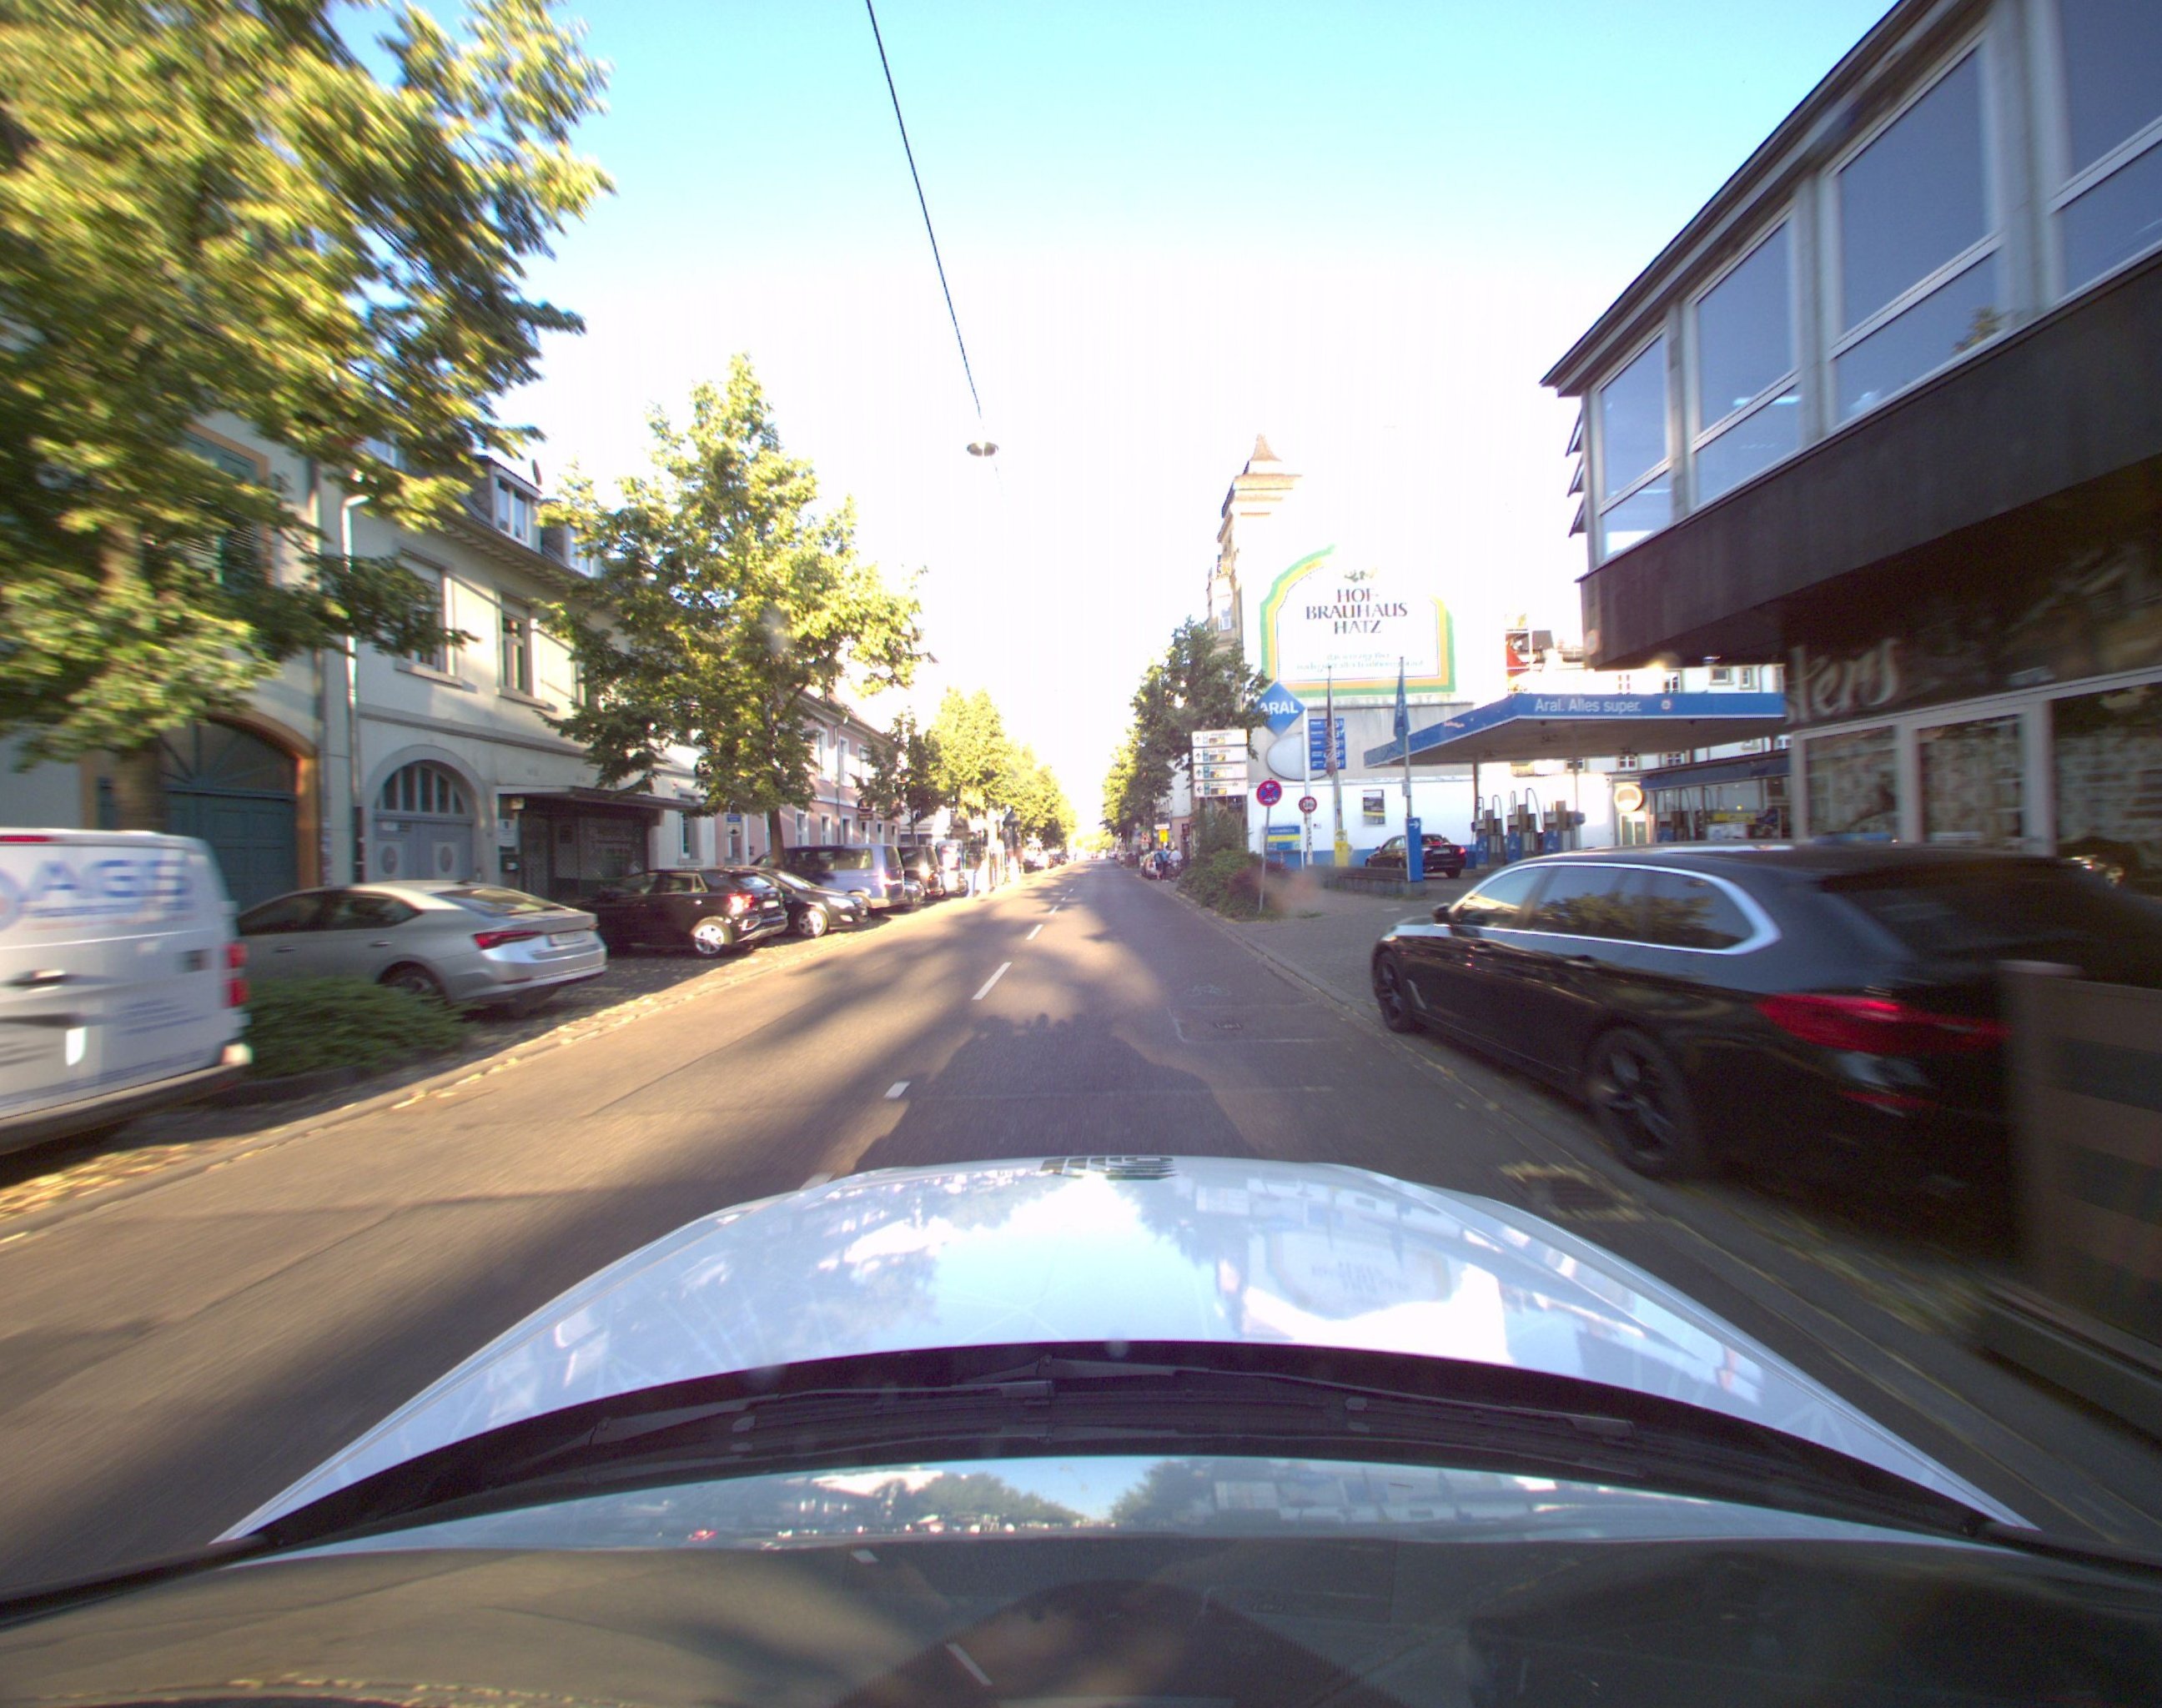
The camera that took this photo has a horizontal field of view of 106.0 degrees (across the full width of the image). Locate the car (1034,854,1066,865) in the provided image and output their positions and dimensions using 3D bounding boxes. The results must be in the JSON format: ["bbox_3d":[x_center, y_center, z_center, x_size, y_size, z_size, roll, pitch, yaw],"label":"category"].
[{"bbox_3d":[-4.383,0.722,115.351,4.425,1.448,1.920,-1,0,2],"label":"car"}]

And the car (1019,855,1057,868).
[{"bbox_3d":[-5.188,0.899,99.133,4.425,1.458,1.860,-1,0,2],"label":"car"}]

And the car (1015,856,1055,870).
[{"bbox_3d":[-5.186,0.971,92.253,4.425,1.506,1.845,-1,0,2],"label":"car"}]

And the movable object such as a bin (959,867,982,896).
[{"bbox_3d":[-4.336,1.080,32.074,0.687,1.105,0.884,-3,0,3],"label":"movable object such as a bin"}]

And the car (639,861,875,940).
[{"bbox_3d":[-6.800,0.947,17.495,4.317,1.501,1.839,-1,0,-4],"label":"car"}]

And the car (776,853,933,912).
[{"bbox_3d":[-6.675,0.823,24.319,4.114,1.636,1.861,-1,0,2],"label":"car"}]

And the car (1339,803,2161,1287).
[{"bbox_3d":[3.347,0.602,5.089,1.823,1.488,4.848,-4,0,0],"label":"car"}]

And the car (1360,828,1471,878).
[{"bbox_3d":[10.930,0.009,27.038,1.728,1.431,4.909,-3,-1,1],"label":"car"}]

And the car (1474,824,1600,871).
[{"bbox_3d":[15.511,-0.156,28.055,1.704,1.402,4.760,-3,-1,1],"label":"car"}]

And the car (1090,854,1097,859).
[{"bbox_3d":[3.706,0.732,236.823,1.745,1.540,3.306,-2,-1,3],"label":"car"}]

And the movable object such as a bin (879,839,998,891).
[{"bbox_3d":[-7.308,0.497,42.261,2.285,2.495,5.789,-2,0,44],"label":"movable object such as a bin"}]

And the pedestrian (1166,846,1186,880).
[{"bbox_3d":[5.000,0.474,42.964,0.657,1.700,0.660,-4,0,-43],"label":"pedestrian"}]

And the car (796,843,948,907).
[{"bbox_3d":[-6.776,0.658,26.821,4.470,1.976,1.965,-1,0,-1],"label":"car"}]

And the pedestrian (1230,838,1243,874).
[{"bbox_3d":[8.372,0.101,43.908,0.460,1.875,0.499,-2,0,-14],"label":"pedestrian"}]

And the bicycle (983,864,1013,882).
[{"bbox_3d":[-4.963,1.136,48.605,1.673,1.079,0.445,1,-1,9],"label":"bicycle"}]

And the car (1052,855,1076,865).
[{"bbox_3d":[-3.330,1.191,160.006,4.425,1.959,1.920,-1,0,2],"label":"car"}]

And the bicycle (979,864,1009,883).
[{"bbox_3d":[-5.137,1.127,48.016,1.677,1.079,0.444,1,-1,0],"label":"bicycle"}]

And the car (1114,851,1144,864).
[{"bbox_3d":[6.101,0.387,102.842,1.654,1.588,3.846,-1,0,44],"label":"car"}]

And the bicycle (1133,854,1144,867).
[{"bbox_3d":[5.637,0.632,79.585,0.593,1.178,1.856,-2,0,21],"label":"bicycle"}]

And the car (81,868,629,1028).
[{"bbox_3d":[-7.621,0.948,8.835,4.459,1.485,1.735,-1,0,3],"label":"car"}]

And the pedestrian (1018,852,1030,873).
[{"bbox_3d":[-4.690,0.674,66.875,0.706,1.686,0.836,-1,0,10],"label":"pedestrian"}]

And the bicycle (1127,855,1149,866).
[{"bbox_3d":[5.452,0.616,78.126,1.935,1.074,0.710,-1,0,33],"label":"bicycle"}]

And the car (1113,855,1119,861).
[{"bbox_3d":[7.843,0.847,182.400,1.507,1.276,3.306,-1,-1,3],"label":"car"}]

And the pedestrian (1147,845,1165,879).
[{"bbox_3d":[3.980,0.430,43.317,0.677,1.754,0.823,-2,-1,-9],"label":"pedestrian"}]

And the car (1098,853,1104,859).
[{"bbox_3d":[5.501,0.494,223.541,1.745,1.540,3.306,-2,-1,3],"label":"car"}]

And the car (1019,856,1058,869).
[{"bbox_3d":[-5.032,1.001,96.823,4.425,1.484,1.810,-1,0,2],"label":"car"}]

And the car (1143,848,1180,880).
[{"bbox_3d":[4.541,0.541,46.377,1.680,1.575,4.014,-4,0,2],"label":"car"}]

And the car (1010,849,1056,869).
[{"bbox_3d":[-4.968,0.509,84.431,4.555,1.962,1.991,-1,0,1],"label":"car"}]

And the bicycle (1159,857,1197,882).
[{"bbox_3d":[4.817,0.748,40.342,0.856,1.098,1.939,-4,0,40],"label":"bicycle"}]

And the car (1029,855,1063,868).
[{"bbox_3d":[-4.666,1.017,108.743,4.425,1.568,1.920,-1,0,2],"label":"car"}]

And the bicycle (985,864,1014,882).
[{"bbox_3d":[-4.940,1.131,49.194,1.673,1.079,0.445,1,-1,9],"label":"bicycle"}]

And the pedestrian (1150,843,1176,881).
[{"bbox_3d":[4.060,0.405,40.491,1.013,1.825,0.778,-4,0,-9],"label":"pedestrian"}]

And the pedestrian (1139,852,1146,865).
[{"bbox_3d":[6.501,0.481,85.864,0.724,1.378,0.781,-1,0,1],"label":"pedestrian"}]

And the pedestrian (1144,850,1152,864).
[{"bbox_3d":[9.091,0.418,110.381,0.916,1.926,1.014,0,0,-9],"label":"pedestrian"}]

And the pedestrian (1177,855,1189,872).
[{"bbox_3d":[7.468,0.697,59.803,0.679,1.141,1.361,-3,-2,1],"label":"pedestrian"}]

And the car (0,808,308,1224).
[{"bbox_3d":[-7.389,0.814,4.213,4.853,1.908,1.974,-2,0,1],"label":"car"}]

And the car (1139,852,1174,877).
[{"bbox_3d":[4.642,0.615,50.703,1.779,1.375,4.525,-4,0,1],"label":"car"}]

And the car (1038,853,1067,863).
[{"bbox_3d":[-4.429,0.626,126.231,4.425,1.523,1.920,-1,0,2],"label":"car"}]

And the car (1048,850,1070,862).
[{"bbox_3d":[-4.663,0.433,170.205,4.425,2.435,1.920,-1,0,2],"label":"car"}]

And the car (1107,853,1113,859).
[{"bbox_3d":[8.433,0.582,234.797,1.745,1.540,3.306,-2,-1,3],"label":"car"}]

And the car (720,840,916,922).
[{"bbox_3d":[-6.869,0.682,21.655,4.466,1.976,2.069,-1,0,2],"label":"car"}]

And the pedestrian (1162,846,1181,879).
[{"bbox_3d":[4.851,0.435,43.575,0.678,1.706,0.821,-4,0,-13],"label":"pedestrian"}]

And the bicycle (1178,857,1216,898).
[{"bbox_3d":[3.670,0.729,25.622,0.478,1.143,1.691,-5,0,32],"label":"bicycle"}]

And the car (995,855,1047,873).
[{"bbox_3d":[-5.432,0.884,74.095,4.531,1.541,1.811,-1,0,0],"label":"car"}]

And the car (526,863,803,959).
[{"bbox_3d":[-7.257,0.962,14.468,3.906,1.501,1.907,-1,0,3],"label":"car"}]

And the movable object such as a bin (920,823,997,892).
[{"bbox_3d":[-5.637,0.160,38.332,2.615,2.969,5.305,-2,0,1],"label":"movable object such as a bin"}]

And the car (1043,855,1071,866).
[{"bbox_3d":[-3.921,1.001,132.723,4.425,1.759,1.920,-1,0,2],"label":"car"}]

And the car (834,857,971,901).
[{"bbox_3d":[-6.522,0.903,30.085,4.573,1.470,1.895,-1,0,4],"label":"car"}]

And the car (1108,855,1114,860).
[{"bbox_3d":[8.229,0.937,223.371,1.507,1.298,3.306,-1,-1,3],"label":"car"}]

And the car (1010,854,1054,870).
[{"bbox_3d":[-5.223,0.858,87.256,4.554,1.698,2.061,-1,0,2],"label":"car"}]
